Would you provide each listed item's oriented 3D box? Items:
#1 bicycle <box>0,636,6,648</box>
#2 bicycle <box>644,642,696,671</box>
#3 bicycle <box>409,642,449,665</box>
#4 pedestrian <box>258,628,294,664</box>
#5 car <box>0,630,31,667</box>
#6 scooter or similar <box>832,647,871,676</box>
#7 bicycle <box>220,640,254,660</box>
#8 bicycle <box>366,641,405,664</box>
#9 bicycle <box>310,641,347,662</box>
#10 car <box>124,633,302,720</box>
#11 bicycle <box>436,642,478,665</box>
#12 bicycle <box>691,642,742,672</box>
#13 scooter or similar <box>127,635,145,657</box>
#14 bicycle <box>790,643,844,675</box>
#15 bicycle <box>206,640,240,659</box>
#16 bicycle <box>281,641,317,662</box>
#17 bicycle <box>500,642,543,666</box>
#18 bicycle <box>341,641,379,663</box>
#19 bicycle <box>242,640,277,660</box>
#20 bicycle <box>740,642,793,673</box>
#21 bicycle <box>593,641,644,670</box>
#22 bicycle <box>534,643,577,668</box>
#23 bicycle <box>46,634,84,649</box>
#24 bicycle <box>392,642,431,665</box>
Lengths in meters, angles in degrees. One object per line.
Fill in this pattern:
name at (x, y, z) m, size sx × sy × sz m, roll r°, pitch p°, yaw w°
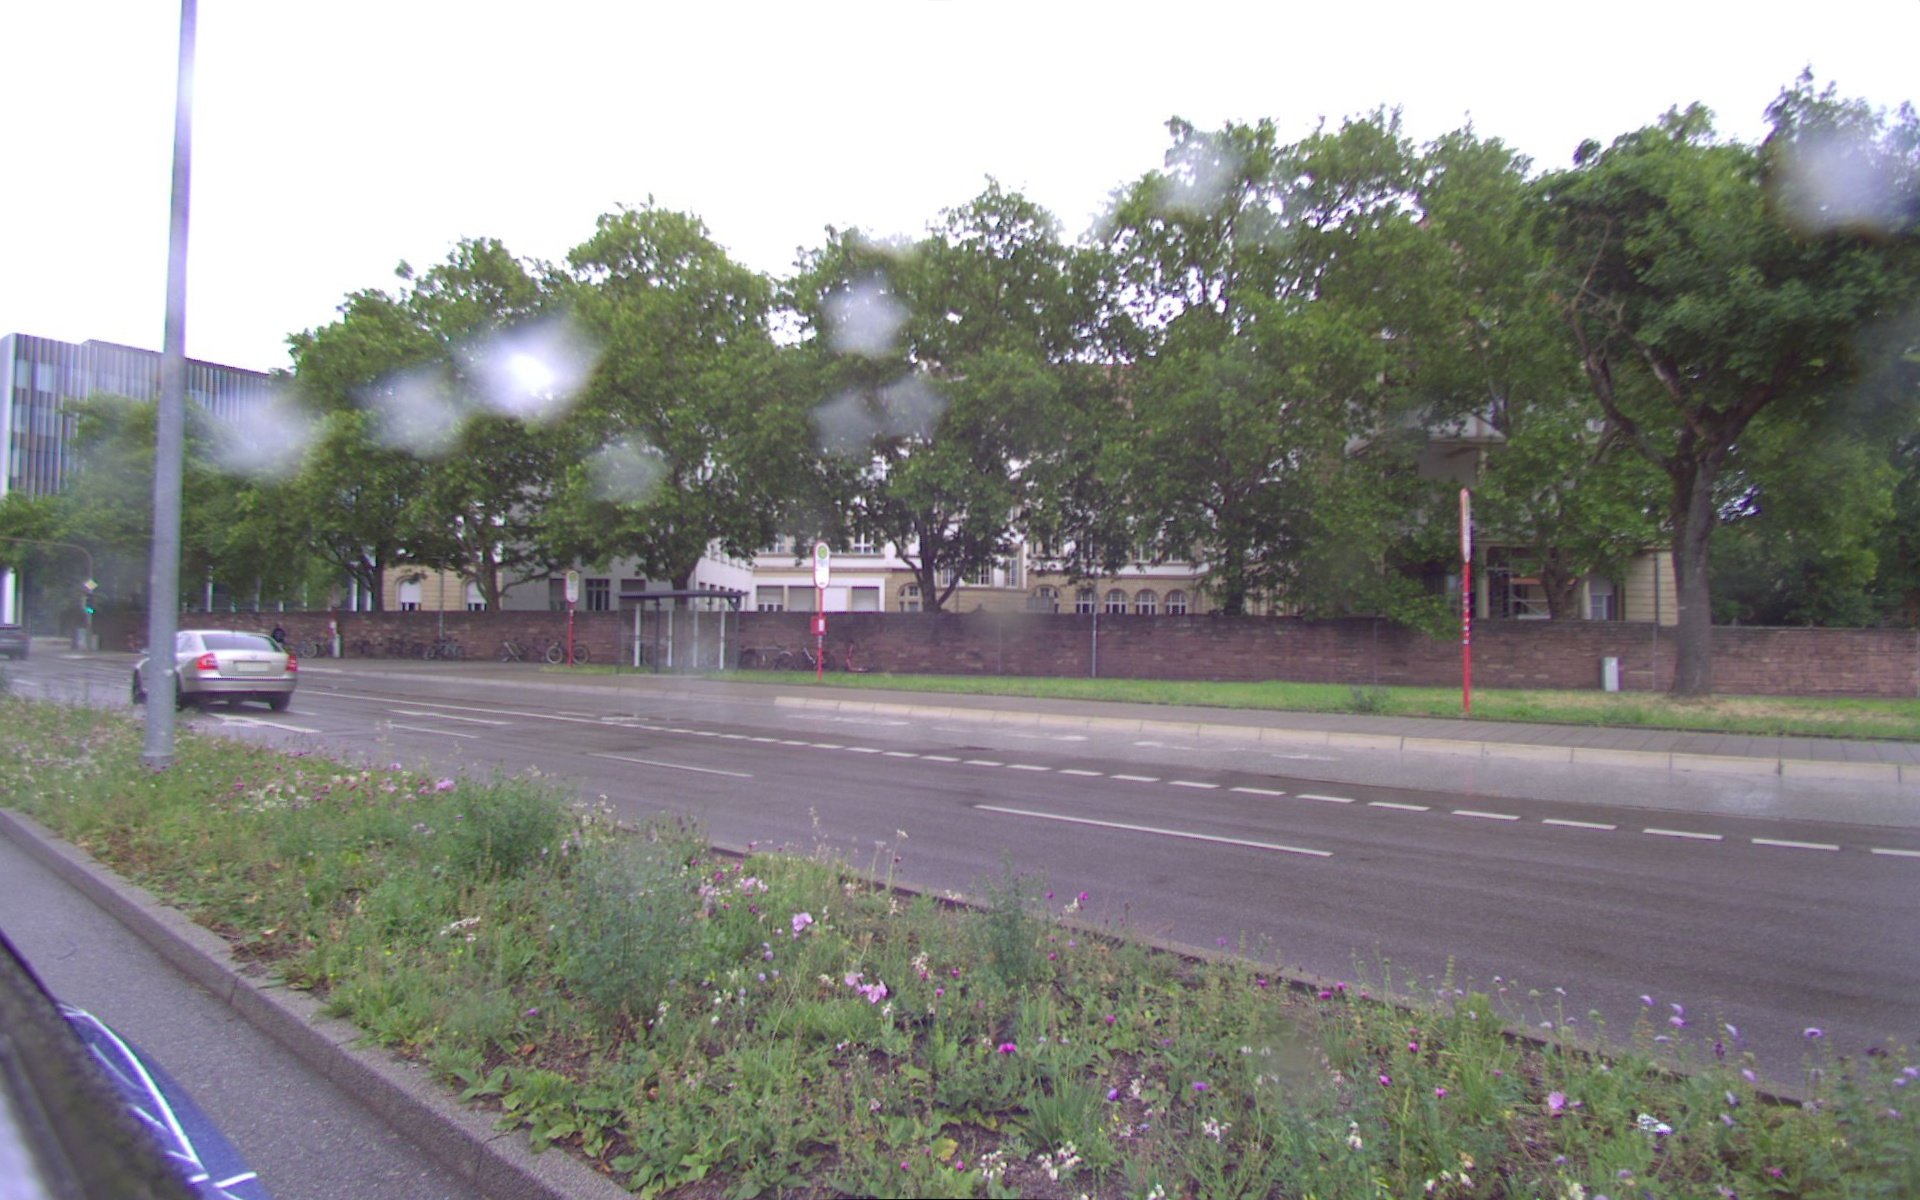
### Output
bicycle at (-94.769, 4.099, 98.783) m, size 0.595 × 1.231 × 2.267 m, roll -1°, pitch -3°, yaw 25°
bicycle at (-11.423, 2.219, 39.886) m, size 1.975 × 1.144 × 0.571 m, roll -1°, pitch -3°, yaw 18°
bicycle at (-23.496, 2.364, 44.798) m, size 1.692 × 0.990 × 0.727 m, roll -1°, pitch -2°, yaw 27°
pedestrian at (-32.531, 2.190, 48.124) m, size 1.395 × 1.708 × 0.862 m, roll -1°, pitch -3°, yaw 32°
car at (-44.565, 2.199, 46.630) m, size 4.600 × 1.648 × 1.973 m, roll -1°, pitch -5°, yaw 41°
scooter or similar at (-4.014, 2.275, 37.469) m, size 1.353 × 1.055 × 0.570 m, roll -1°, pitch -3°, yaw 22°
bicycle at (-37.151, 2.556, 52.008) m, size 1.692 × 0.990 × 0.727 m, roll -1°, pitch -2°, yaw 27°
bicycle at (-26.225, 2.388, 46.214) m, size 1.692 × 0.990 × 0.727 m, roll -1°, pitch -2°, yaw 27°
bicycle at (-30.172, 2.452, 48.358) m, size 1.692 × 0.990 × 0.727 m, roll -1°, pitch -2°, yaw 27°
car at (-13.899, 1.344, 18.750) m, size 4.179 × 1.426 × 1.677 m, roll -1°, pitch -3°, yaw 40°
bicycle at (-21.585, 2.288, 43.431) m, size 1.692 × 0.990 × 0.727 m, roll -1°, pitch -2°, yaw 27°
bicycle at (-9.454, 2.208, 39.289) m, size 1.978 × 1.144 × 0.570 m, roll -1°, pitch -3°, yaw 22°
scooter or similar at (-47.283, 2.634, 58.070) m, size 1.138 × 1.206 × 0.388 m, roll -1°, pitch 4°, yaw 32°
bicycle at (-5.366, 2.207, 37.967) m, size 1.978 × 1.144 × 0.570 m, roll -1°, pitch -3°, yaw 22°
bicycle at (-38.762, 2.596, 53.228) m, size 1.692 × 0.990 × 0.727 m, roll -1°, pitch -2°, yaw 27°
bicycle at (-32.155, 2.473, 49.210) m, size 1.692 × 0.990 × 0.727 m, roll -1°, pitch -2°, yaw 27°
bicycle at (-18.489, 2.275, 42.675) m, size 1.692 × 0.990 × 0.727 m, roll -1°, pitch -2°, yaw 27°
bicycle at (-27.816, 2.408, 46.927) m, size 1.692 × 0.990 × 0.727 m, roll -1°, pitch -2°, yaw 27°
bicycle at (-35.560, 2.539, 51.340) m, size 1.692 × 0.990 × 0.727 m, roll -1°, pitch -2°, yaw 27°
bicycle at (-7.355, 2.188, 38.445) m, size 1.978 × 1.144 × 0.570 m, roll -1°, pitch -3°, yaw 22°
bicycle at (-13.709, 2.232, 40.611) m, size 1.975 × 1.144 × 0.571 m, roll -1°, pitch -3°, yaw 18°
bicycle at (-16.658, 2.287, 41.690) m, size 1.692 × 0.990 × 0.727 m, roll -1°, pitch -2°, yaw 27°
bicycle at (-73.859, 3.404, 83.512) m, size 0.595 × 1.231 × 2.267 m, roll -1°, pitch -3°, yaw 25°
bicycle at (-24.654, 2.385, 45.491) m, size 1.692 × 0.990 × 0.727 m, roll -1°, pitch -2°, yaw 27°
